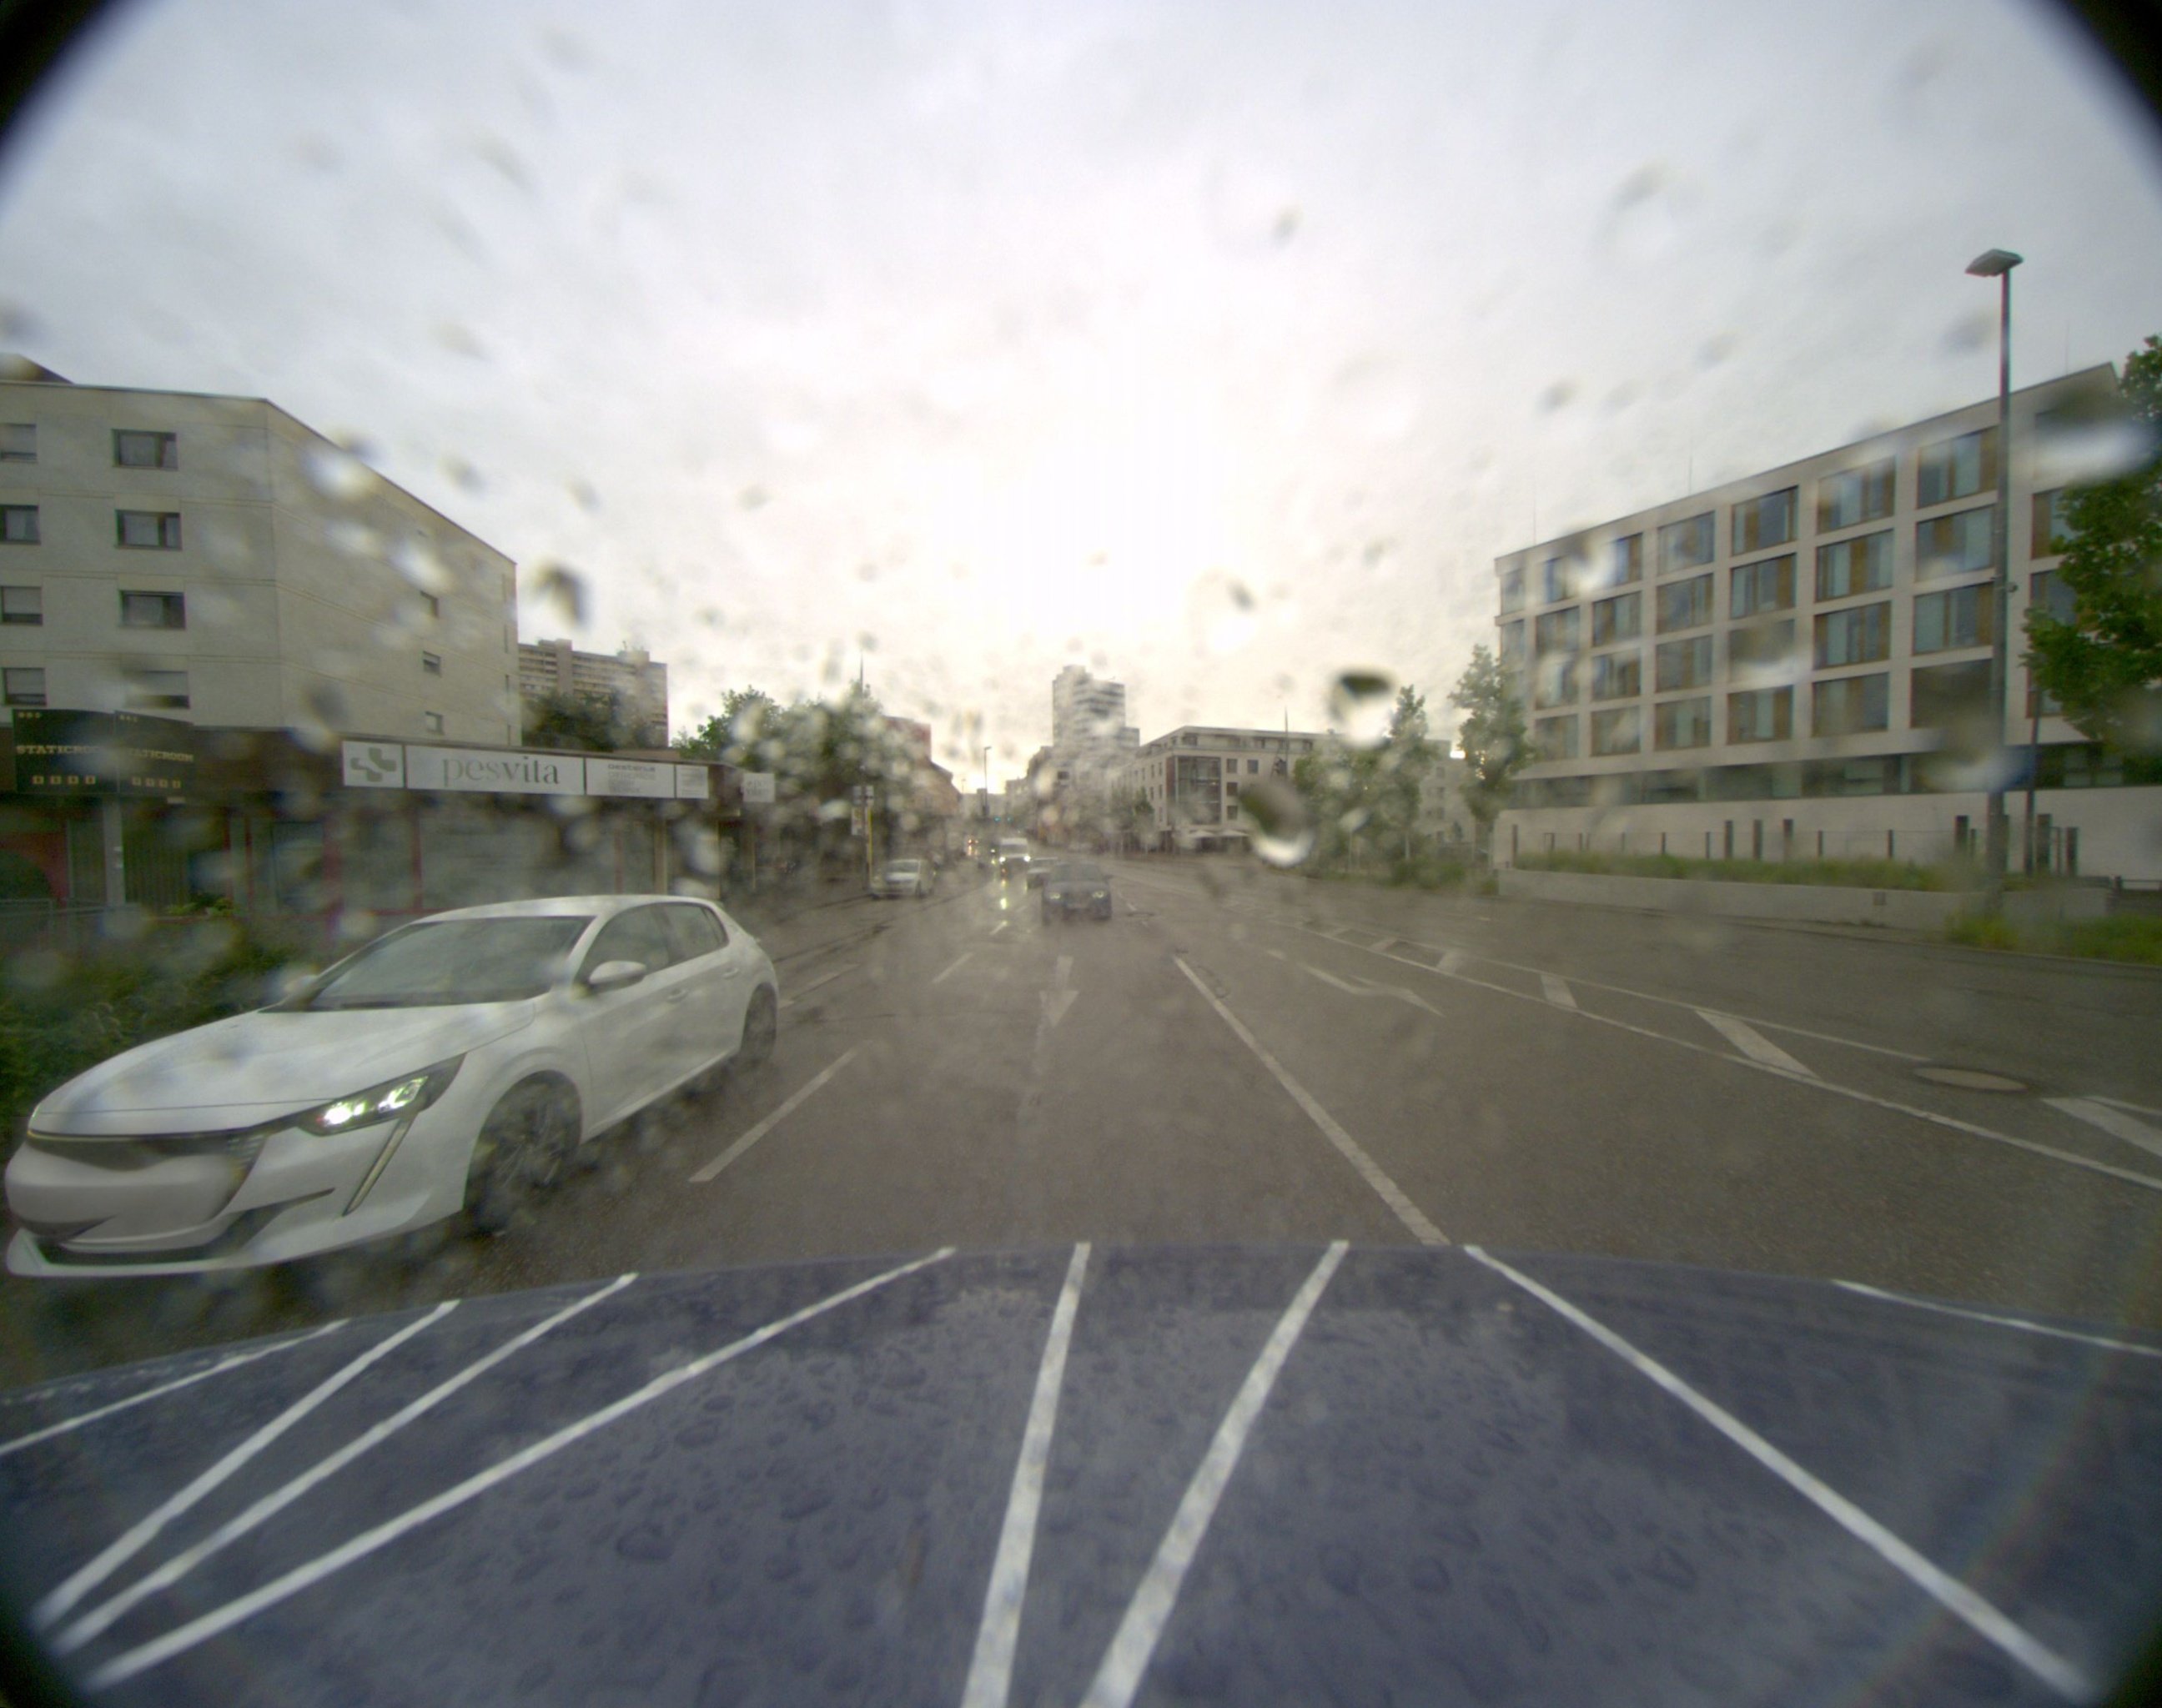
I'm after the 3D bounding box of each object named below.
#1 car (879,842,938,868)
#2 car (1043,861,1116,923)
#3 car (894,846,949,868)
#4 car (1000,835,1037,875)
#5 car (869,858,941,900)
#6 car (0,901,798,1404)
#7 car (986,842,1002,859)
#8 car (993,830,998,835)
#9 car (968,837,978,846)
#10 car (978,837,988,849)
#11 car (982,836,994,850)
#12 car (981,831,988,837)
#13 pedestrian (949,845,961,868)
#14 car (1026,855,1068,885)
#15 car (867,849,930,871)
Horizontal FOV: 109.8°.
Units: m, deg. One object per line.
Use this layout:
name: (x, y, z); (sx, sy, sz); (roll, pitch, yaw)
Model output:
car: (-12.297, 0.062, 54.457); (4.000, 1.769, 1.882); (-1, 1, -10)
car: (-0.074, 0.916, 19.963); (1.693, 1.380, 3.999); (-2, 0, -1)
car: (-12.090, 0.212, 57.727); (4.000, 1.584, 1.883); (-1, -1, -10)
car: (-4.266, 0.013, 52.570); (2.197, 2.503, 6.121); (-1, 1, -2)
car: (-6.893, 0.938, 30.180); (1.788, 1.481, 4.000); (-2, 0, 1)
car: (-3.370, 1.146, 4.626); (1.666, 1.407, 4.115); (-2, 0, 1)
car: (-10.771, -0.397, 94.243); (1.721, 1.988, 3.834); (-2, 0, -4)
car: (-28.604, -7.169, 253.470); (1.666, 1.624, 3.802); (-2, 0, -8)
car: (-23.807, -2.766, 168.145); (1.999, 2.002, 3.997); (-2, 1, -6)
car: (-17.487, -1.903, 135.791); (1.722, 1.988, 3.833); (-2, 0, -8)
car: (-13.930, -1.629, 113.900); (1.722, 1.988, 3.833); (-2, 0, -8)
car: (-26.893, -5.525, 211.434); (1.666, 1.624, 3.801); (-2, 0, -11)
pedestrian: (-9.637, 0.182, 58.260); (0.750, 1.771, 0.752); (-2, 1, -3)
car: (-1.653, 0.752, 38.372); (1.788, 1.338, 4.162); (-2, 1, 1)
car: (-12.343, 0.416, 51.582); (4.000, 1.419, 1.882); (-1, 0, -10)
